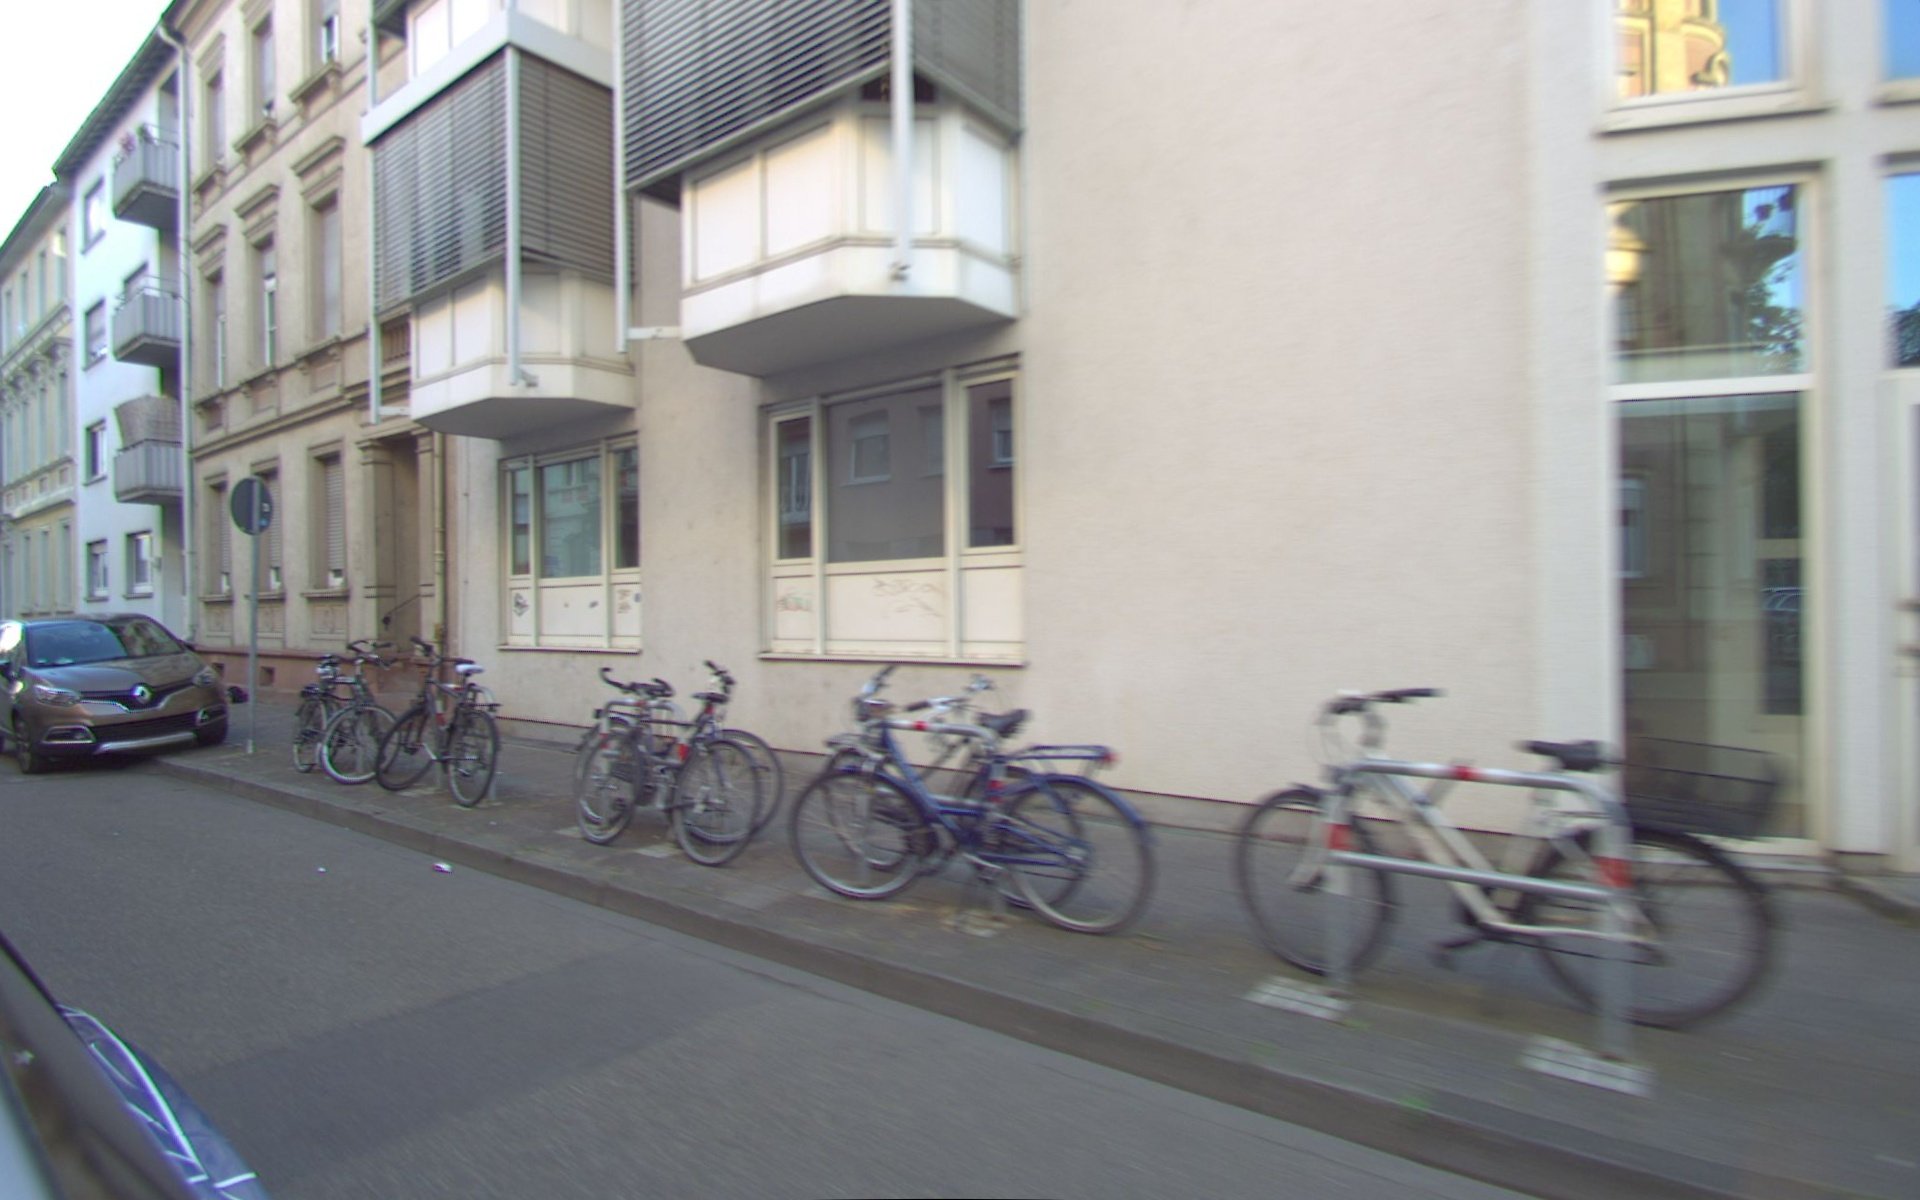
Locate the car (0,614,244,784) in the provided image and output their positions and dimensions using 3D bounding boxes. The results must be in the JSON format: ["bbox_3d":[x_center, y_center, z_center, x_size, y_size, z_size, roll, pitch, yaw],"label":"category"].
[{"bbox_3d":[-9.976,0.989,11.568,4.063,1.588,1.774,-1,-1,37],"label":"car"}]

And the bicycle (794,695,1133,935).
[{"bbox_3d":[-0.050,0.974,4.954,1.809,0.939,0.304,-2,-1,36],"label":"bicycle"}]

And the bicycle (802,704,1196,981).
[{"bbox_3d":[0.094,0.968,4.400,1.808,0.939,0.304,-2,-1,34],"label":"bicycle"}]

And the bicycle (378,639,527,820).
[{"bbox_3d":[-3.919,0.928,7.750,1.811,1.232,0.304,-1,0,40],"label":"bicycle"}]

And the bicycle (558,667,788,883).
[{"bbox_3d":[-1.730,0.950,5.916,1.811,1.050,0.304,-1,0,40],"label":"bicycle"}]

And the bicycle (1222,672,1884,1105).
[{"bbox_3d":[1.840,0.829,3.408,1.807,1.110,0.397,-1,0,33],"label":"bicycle"}]

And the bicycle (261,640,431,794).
[{"bbox_3d":[-5.551,0.978,9.075,2.263,1.196,0.589,-1,0,40],"label":"bicycle"}]

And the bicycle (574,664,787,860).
[{"bbox_3d":[-1.814,0.956,6.398,1.811,1.050,0.304,-1,0,40],"label":"bicycle"}]

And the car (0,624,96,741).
[{"bbox_3d":[-14.599,1.156,15.039,4.426,1.551,1.774,-1,-1,37],"label":"car"}]

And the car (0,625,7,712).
[{"bbox_3d":[-19.358,1.264,18.813,4.488,1.551,1.773,-1,-1,39],"label":"car"}]
